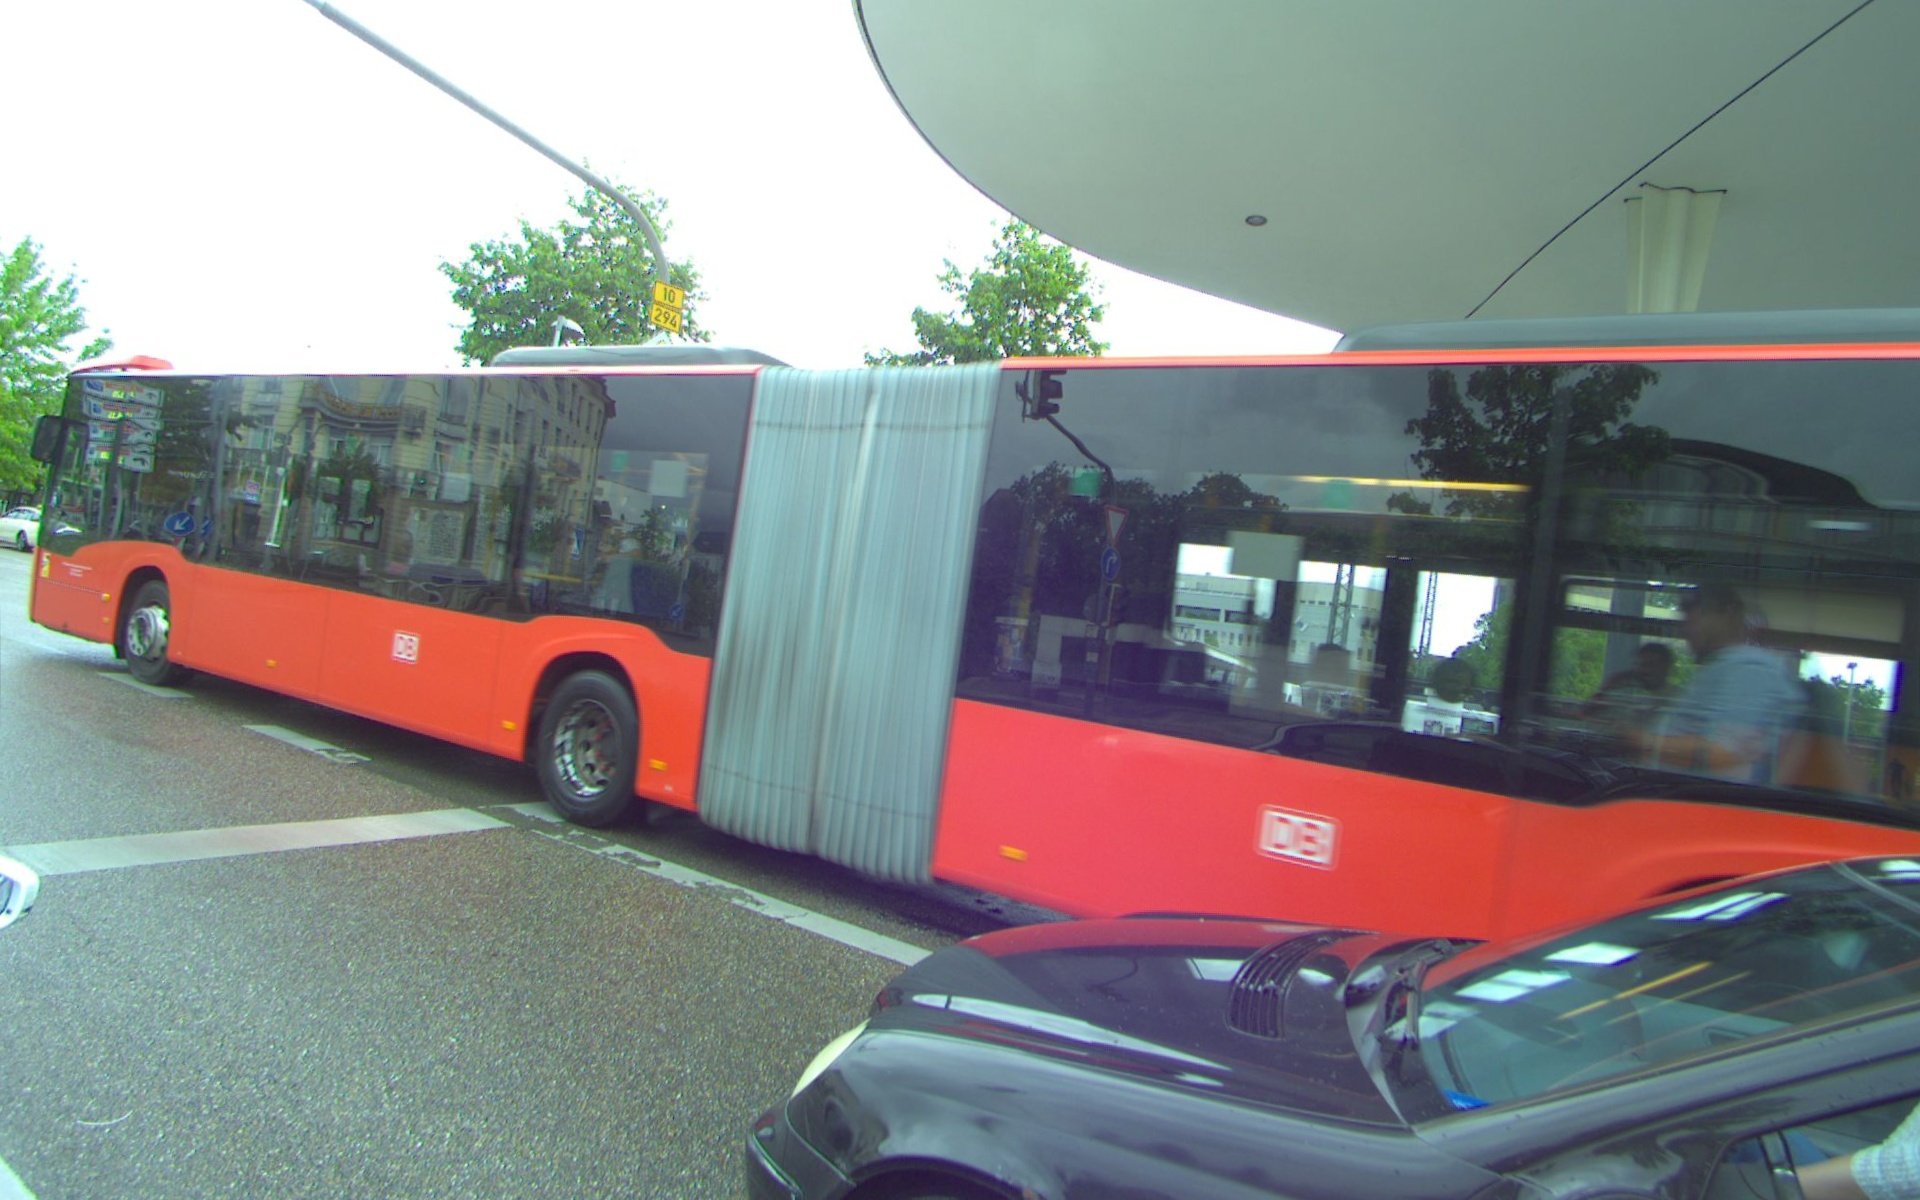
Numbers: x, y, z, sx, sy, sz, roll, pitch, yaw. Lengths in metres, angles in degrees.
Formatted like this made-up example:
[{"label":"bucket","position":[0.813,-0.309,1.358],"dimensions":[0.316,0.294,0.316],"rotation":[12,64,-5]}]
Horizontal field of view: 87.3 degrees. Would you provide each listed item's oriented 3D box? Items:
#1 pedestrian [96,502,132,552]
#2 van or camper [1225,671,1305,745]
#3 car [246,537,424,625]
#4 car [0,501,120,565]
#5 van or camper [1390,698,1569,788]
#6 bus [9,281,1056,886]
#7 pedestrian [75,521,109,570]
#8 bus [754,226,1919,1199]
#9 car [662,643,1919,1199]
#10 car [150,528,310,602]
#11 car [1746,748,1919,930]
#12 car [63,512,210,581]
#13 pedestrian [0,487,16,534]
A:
[{"label":"pedestrian","position":[-36.860,-3.182,43.825],"dimensions":[0.814,2.037,0.771],"rotation":[7,-1,30]},{"label":"van or camper","position":[12.544,4.410,41.011],"dimensions":[2.072,2.491,5.975],"rotation":[7,-3,25]},{"label":"car","position":[-15.849,-0.505,25.455],"dimensions":[4.538,1.608,1.779],"rotation":[7,-2,30]},{"label":"car","position":[-31.429,-2.370,34.534],"dimensions":[4.736,1.618,2.000],"rotation":[7,-2,25]},{"label":"van or camper","position":[20.343,5.546,39.542],"dimensions":[5.873,2.491,2.108],"rotation":[7,-2,32]},{"label":"bus","position":[-4.450,-0.463,8.962],"dimensions":[10.020,3.210,2.750],"rotation":[7,-2,29]},{"label":"pedestrian","position":[-32.936,-2.067,38.185],"dimensions":[0.703,1.729,0.566],"rotation":[7,-2,27]},{"label":"bus","position":[3.194,0.521,4.523],"dimensions":[7.984,3.210,2.749],"rotation":[7,-2,31]},{"label":"car","position":[1.774,1.137,1.465],"dimensions":[4.362,1.494,1.753],"rotation":[5,-7,32]},{"label":"car","position":[-20.627,-1.001,28.382],"dimensions":[4.588,1.468,1.851],"rotation":[7,-2,30]},{"label":"car","position":[11.238,2.791,10.563],"dimensions":[4.360,1.665,1.807],"rotation":[7,-5,32]},{"label":"car","position":[-25.834,-1.695,31.523],"dimensions":[4.662,1.542,1.918],"rotation":[7,-2,30]},{"label":"pedestrian","position":[-52.608,-4.940,55.118],"dimensions":[0.848,2.439,0.844],"rotation":[7,-1,34]}]
